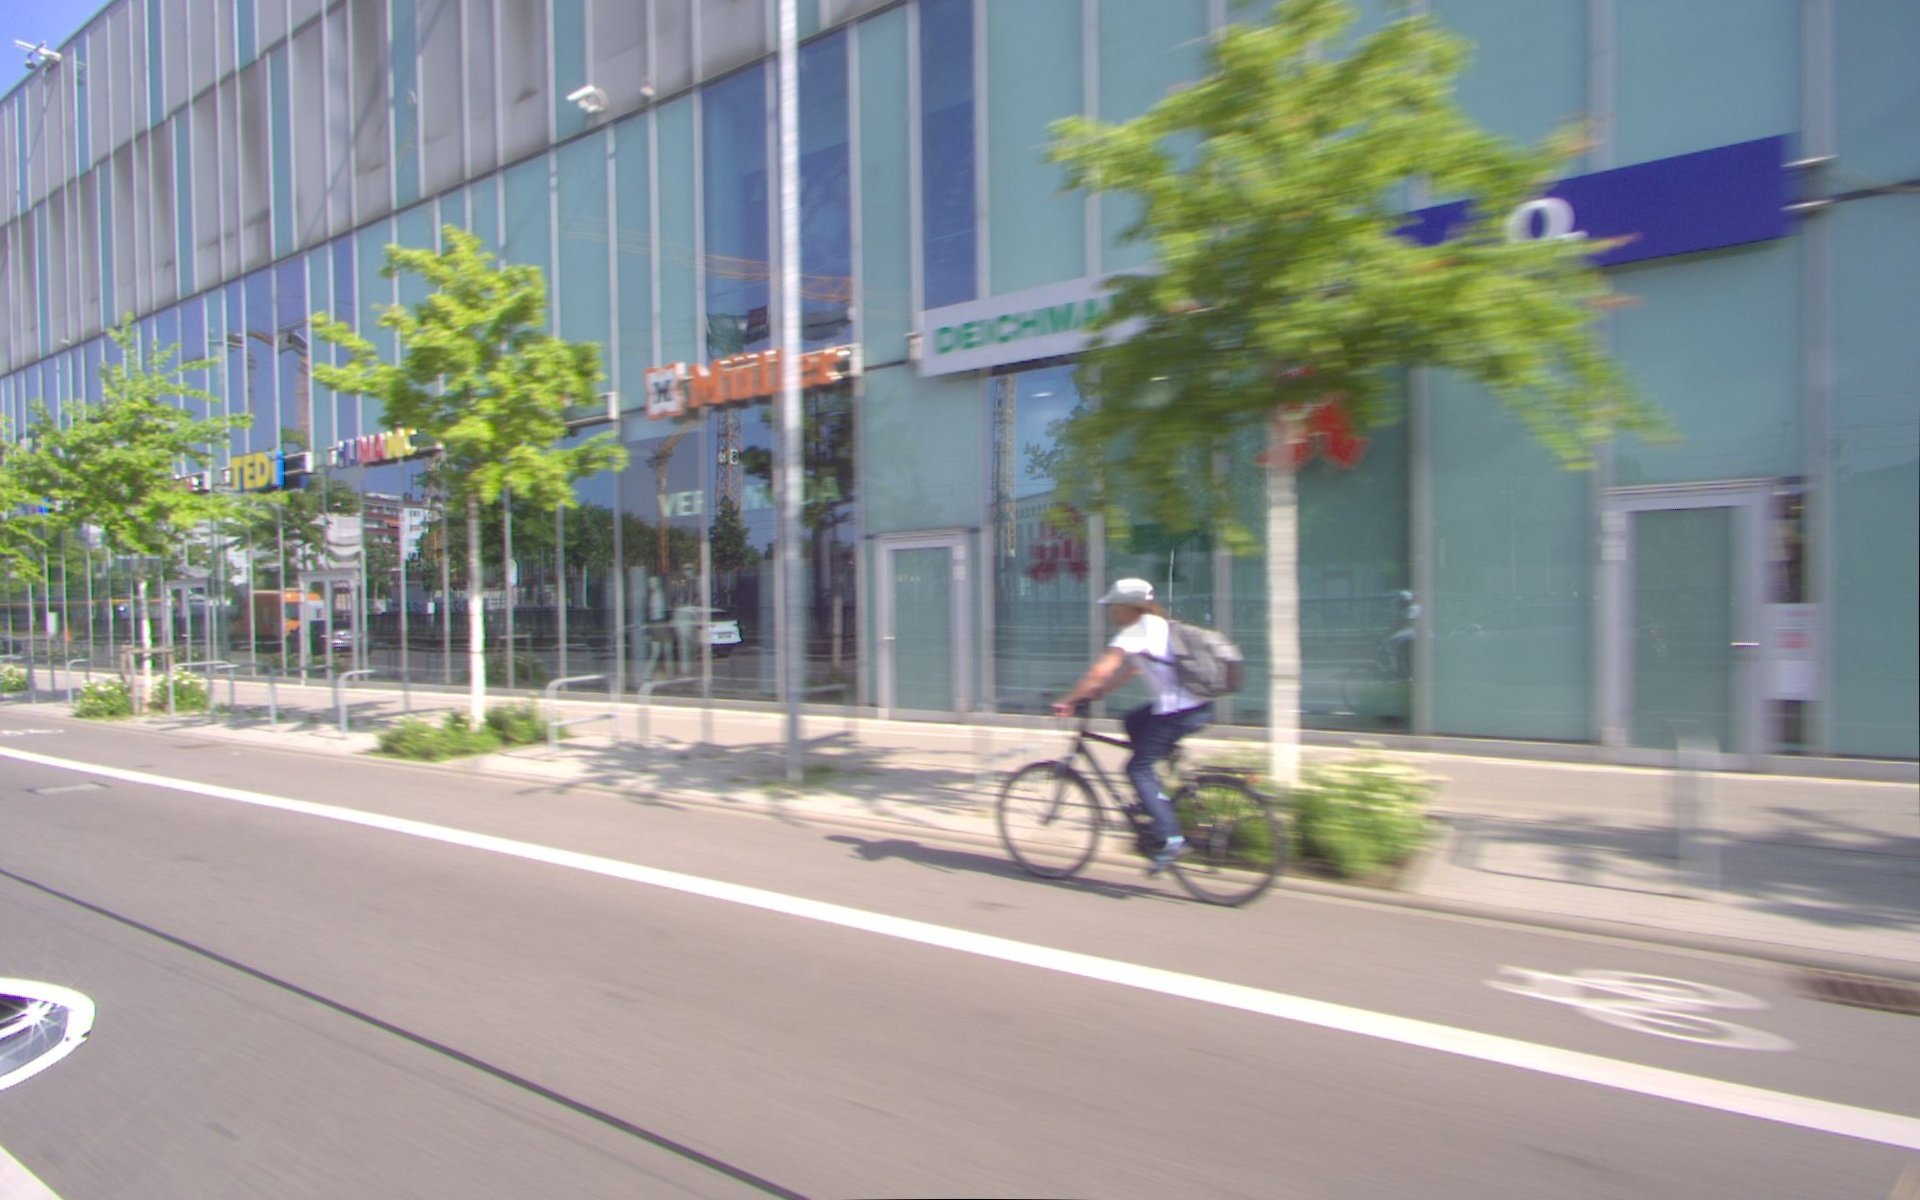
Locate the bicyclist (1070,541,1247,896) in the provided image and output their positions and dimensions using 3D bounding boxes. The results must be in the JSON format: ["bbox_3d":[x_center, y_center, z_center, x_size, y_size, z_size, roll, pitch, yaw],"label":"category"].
[{"bbox_3d":[1.090,0.595,5.473,0.759,1.772,0.649,0,1,35],"label":"bicyclist"}]

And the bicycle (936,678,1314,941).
[{"bbox_3d":[0.869,1.064,5.627,2.023,1.132,0.659,0,0,36],"label":"bicycle"}]
